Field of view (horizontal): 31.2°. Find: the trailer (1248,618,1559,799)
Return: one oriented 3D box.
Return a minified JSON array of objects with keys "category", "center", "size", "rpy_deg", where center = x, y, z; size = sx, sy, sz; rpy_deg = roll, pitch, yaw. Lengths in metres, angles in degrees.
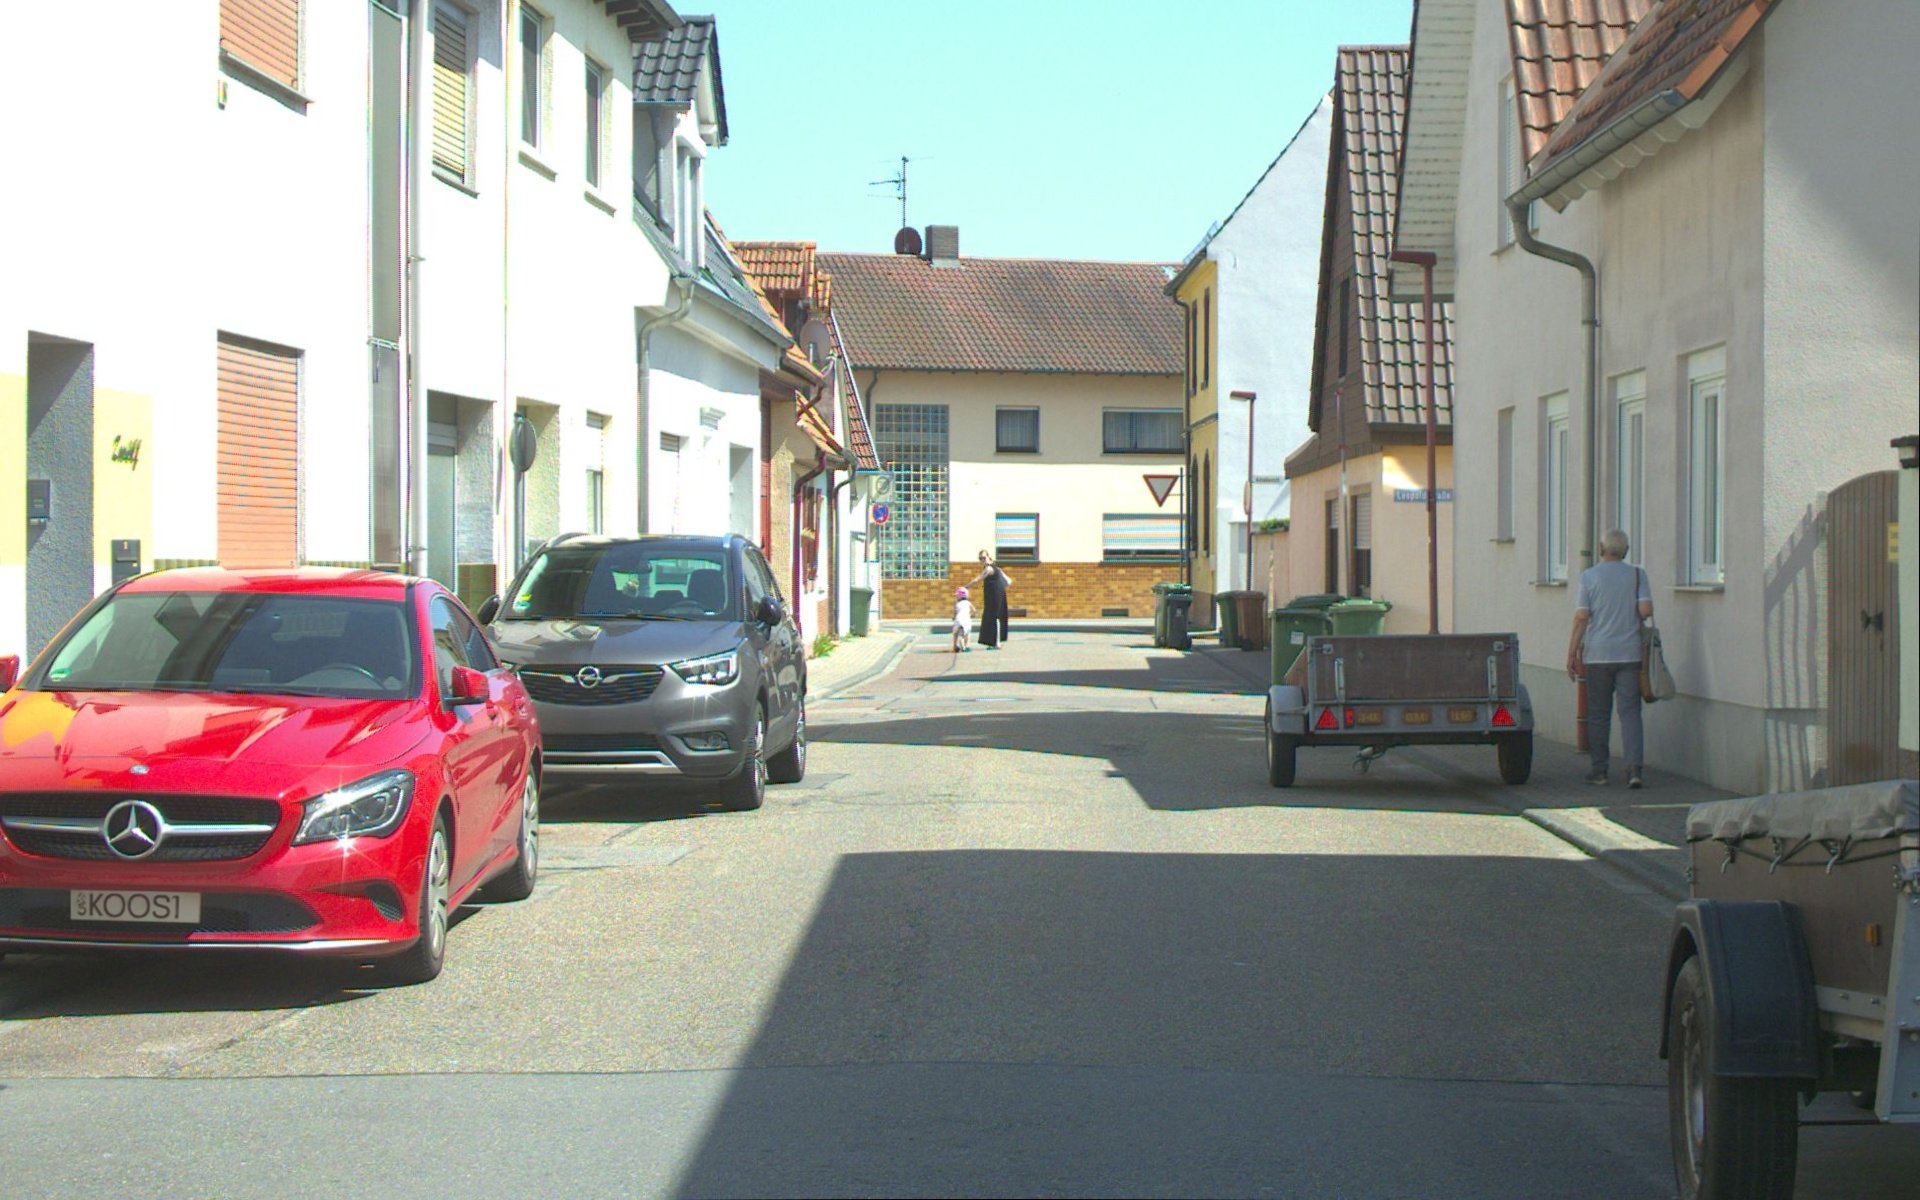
[{"category":"trailer","center":[2.860,0.677,22.809],"size":[1.699,1.029,3.481],"rpy_deg":[0,1,2]}]

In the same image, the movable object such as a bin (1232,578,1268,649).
[{"category":"movable object such as a bin","center":[4.604,0.213,54.512],"size":[0.525,1.124,0.366],"rpy_deg":[-1,0,-1]}]

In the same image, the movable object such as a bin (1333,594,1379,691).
[{"category":"movable object such as a bin","center":[4.515,0.481,39.192],"size":[0.457,1.083,0.502],"rpy_deg":[-1,0,1]}]

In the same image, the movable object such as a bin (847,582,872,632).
[{"category":"movable object such as a bin","center":[-1.869,0.121,63.859],"size":[0.448,0.918,0.404],"rpy_deg":[-1,0,-1]}]

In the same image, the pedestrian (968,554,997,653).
[{"category":"pedestrian","center":[0.371,0.058,56.033],"size":[0.411,1.604,0.368],"rpy_deg":[-1,0,-8]}]

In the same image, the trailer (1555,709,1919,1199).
[{"category":"trailer","center":[2.458,0.868,7.564],"size":[1.817,1.086,3.481],"rpy_deg":[0,1,2]}]

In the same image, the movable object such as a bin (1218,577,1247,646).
[{"category":"movable object such as a bin","center":[4.527,0.187,57.082],"size":[0.425,1.124,0.414],"rpy_deg":[-1,0,-1]}]

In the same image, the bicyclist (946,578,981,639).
[{"category":"bicyclist","center":[0.057,0.134,55.289],"size":[0.461,0.956,0.352],"rpy_deg":[-1,1,-27]}]

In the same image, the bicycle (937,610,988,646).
[{"category":"bicycle","center":[0.038,0.449,55.307],"size":[0.441,0.565,0.939],"rpy_deg":[-1,1,-27]}]

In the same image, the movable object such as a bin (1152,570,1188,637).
[{"category":"movable object such as a bin","center":[3.556,0.050,58.284],"size":[0.569,1.124,0.453],"rpy_deg":[-1,0,-1]}]

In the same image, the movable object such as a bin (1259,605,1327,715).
[{"category":"movable object such as a bin","center":[3.165,0.565,32.750],"size":[0.585,1.029,0.595],"rpy_deg":[-1,0,1]}]

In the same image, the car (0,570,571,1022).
[{"category":"car","center":[-2.669,0.616,13.343],"size":[1.800,1.436,4.487],"rpy_deg":[-1,1,0]}]

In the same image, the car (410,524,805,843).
[{"category":"car","center":[-2.029,0.434,21.015],"size":[1.800,1.698,4.487],"rpy_deg":[-1,1,1]}]

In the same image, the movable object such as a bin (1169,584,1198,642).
[{"category":"movable object such as a bin","center":[3.749,0.218,57.671],"size":[0.424,0.972,0.473],"rpy_deg":[-1,0,-1]}]

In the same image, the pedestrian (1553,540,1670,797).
[{"category":"pedestrian","center":[4.014,0.428,21.213],"size":[0.595,1.559,0.557],"rpy_deg":[0,-3,0]}]
